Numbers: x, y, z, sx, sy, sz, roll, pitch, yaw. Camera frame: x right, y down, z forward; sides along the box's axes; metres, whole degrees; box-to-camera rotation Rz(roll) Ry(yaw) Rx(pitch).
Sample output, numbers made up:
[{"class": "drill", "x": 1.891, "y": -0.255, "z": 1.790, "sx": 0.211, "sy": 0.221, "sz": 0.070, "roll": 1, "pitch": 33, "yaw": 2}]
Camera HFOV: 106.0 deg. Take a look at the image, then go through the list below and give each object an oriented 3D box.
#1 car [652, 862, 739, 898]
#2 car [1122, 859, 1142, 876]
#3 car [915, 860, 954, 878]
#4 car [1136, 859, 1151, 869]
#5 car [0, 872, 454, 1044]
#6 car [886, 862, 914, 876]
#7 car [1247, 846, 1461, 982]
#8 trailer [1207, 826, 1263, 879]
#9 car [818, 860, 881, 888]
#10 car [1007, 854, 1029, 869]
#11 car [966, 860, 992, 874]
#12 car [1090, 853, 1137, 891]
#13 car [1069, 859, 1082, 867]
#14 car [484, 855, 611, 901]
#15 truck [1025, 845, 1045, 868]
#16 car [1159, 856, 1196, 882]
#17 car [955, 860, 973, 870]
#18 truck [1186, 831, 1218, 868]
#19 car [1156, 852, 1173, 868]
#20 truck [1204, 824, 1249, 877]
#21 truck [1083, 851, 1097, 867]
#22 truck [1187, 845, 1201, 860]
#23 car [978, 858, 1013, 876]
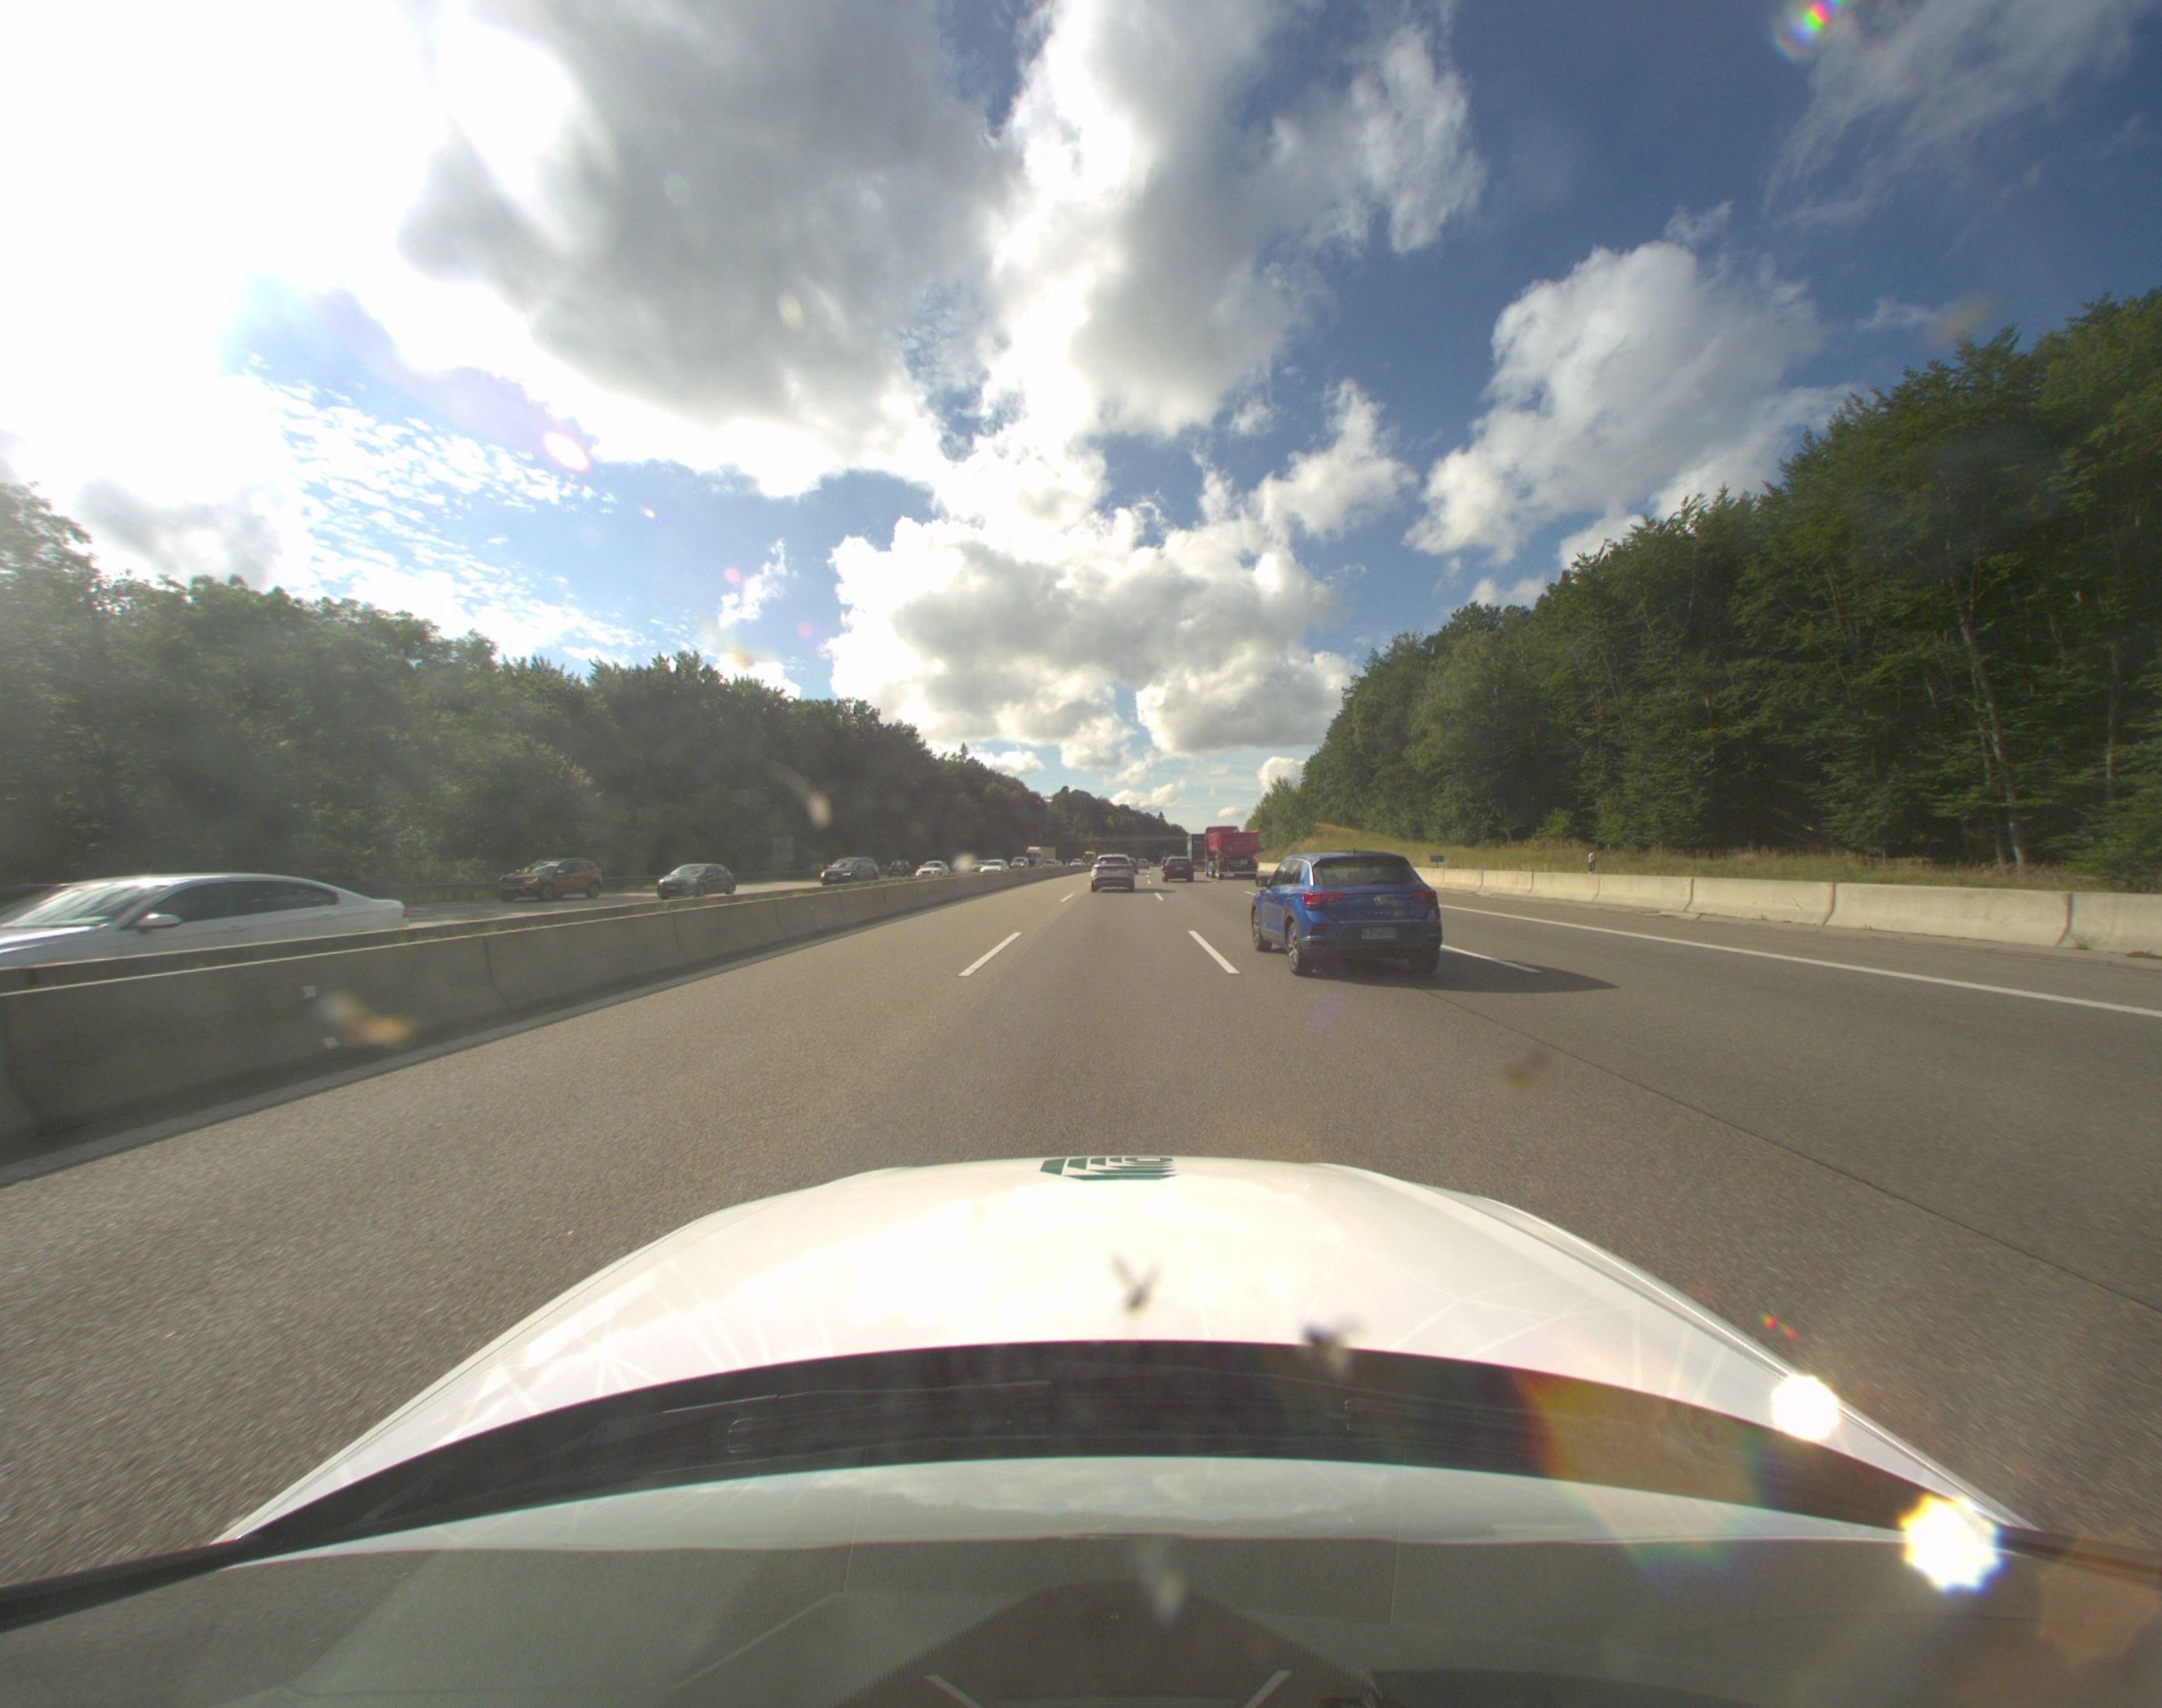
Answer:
[{"class": "car", "x": -16.037, "y": 1.048, "z": 34.083, "sx": 1.631, "sy": 1.354, "sz": 4.001, "roll": -1, "pitch": 0, "yaw": 1}, {"class": "car", "x": 4.792, "y": 1.231, "z": 76.387, "sx": 1.814, "sy": 1.546, "sz": 4.005, "roll": 0, "pitch": 0, "yaw": 4}, {"class": "car", "x": -10.753, "y": 1.063, "z": 60.005, "sx": 1.639, "sy": 1.200, "sz": 4.446, "roll": -1, "pitch": 0, "yaw": 5}, {"class": "car", "x": 9.049, "y": 1.409, "z": 117.919, "sx": 1.812, "sy": 1.457, "sz": 4.009, "roll": -1, "pitch": -1, "yaw": 8}, {"class": "car", "x": -9.624, "y": 0.917, "z": 8.822, "sx": 1.716, "sy": 1.310, "sz": 4.884, "roll": -1, "pitch": 0, "yaw": 2}, {"class": "car", "x": -16.479, "y": 1.321, "z": 74.176, "sx": 1.486, "sy": 1.212, "sz": 3.274, "roll": -1, "pitch": 0, "yaw": 5}, {"class": "car", "x": 3.574, "y": 0.691, "z": 11.546, "sx": 1.765, "sy": 1.530, "sz": 4.461, "roll": -1, "pitch": 0, "yaw": 3}, {"class": "trailer", "x": 10.259, "y": -0.093, "z": 55.227, "sx": 2.697, "sy": 3.231, "sz": 9.745, "roll": -1, "pitch": 0, "yaw": 5}, {"class": "car", "x": -12.987, "y": 1.095, "z": 45.994, "sx": 1.712, "sy": 1.479, "sz": 4.639, "roll": -1, "pitch": 0, "yaw": 7}, {"class": "car", "x": -7.831, "y": 0.930, "z": 102.002, "sx": 1.984, "sy": 1.837, "sz": 4.736, "roll": -1, "pitch": 0, "yaw": 5}, {"class": "car", "x": -11.818, "y": 1.516, "z": 94.797, "sx": 2.062, "sy": 1.473, "sz": 4.677, "roll": -1, "pitch": 0, "yaw": 4}, {"class": "car", "x": 1.488, "y": 0.782, "z": 37.380, "sx": 1.998, "sy": 1.616, "sz": 5.303, "roll": -1, "pitch": 0, "yaw": 2}, {"class": "car", "x": -1.015, "y": 1.563, "z": 143.982, "sx": 1.838, "sy": 1.498, "sz": 4.136, "roll": 0, "pitch": -1, "yaw": 6}, {"class": "car", "x": -21.435, "y": 0.914, "z": 32.974, "sx": 1.919, "sy": 1.716, "sz": 4.430, "roll": -1, "pitch": 0, "yaw": 6}, {"class": "truck", "x": -8.458, "y": 0.450, "z": 150.064, "sx": 2.693, "sy": 4.068, "sz": 6.609, "roll": -1, "pitch": 0, "yaw": 6}, {"class": "car", "x": 5.809, "y": 0.865, "z": 49.376, "sx": 1.816, "sy": 1.457, "sz": 4.000, "roll": -1, "pitch": 0, "yaw": 0}, {"class": "car", "x": -14.407, "y": 1.327, "z": 100.698, "sx": 1.487, "sy": 1.212, "sz": 3.792, "roll": -1, "pitch": 0, "yaw": 3}, {"class": "truck", "x": 13.377, "y": -0.466, "z": 90.559, "sx": 3.102, "sy": 3.935, "sz": 10.429, "roll": -1, "pitch": 0, "yaw": 6}, {"class": "car", "x": 9.986, "y": 0.728, "z": 97.828, "sx": 1.885, "sy": 1.857, "sz": 4.105, "roll": -1, "pitch": 0, "yaw": 4}, {"class": "truck", "x": 10.660, "y": -0.229, "z": 60.121, "sx": 2.697, "sy": 3.719, "sz": 5.825, "roll": -1, "pitch": 0, "yaw": 5}, {"class": "truck", "x": 2.200, "y": 1.280, "z": 197.210, "sx": 2.763, "sy": 3.810, "sz": 7.145, "roll": -1, "pitch": 0, "yaw": 5}, {"class": "truck", "x": 24.101, "y": -0.278, "z": 173.459, "sx": 2.828, "sy": 2.925, "sz": 8.404, "roll": -1, "pitch": -1, "yaw": 8}, {"class": "car", "x": -6.669, "y": 0.990, "z": 64.276, "sx": 1.985, "sy": 1.308, "sz": 4.836, "roll": -1, "pitch": 0, "yaw": 3}]
